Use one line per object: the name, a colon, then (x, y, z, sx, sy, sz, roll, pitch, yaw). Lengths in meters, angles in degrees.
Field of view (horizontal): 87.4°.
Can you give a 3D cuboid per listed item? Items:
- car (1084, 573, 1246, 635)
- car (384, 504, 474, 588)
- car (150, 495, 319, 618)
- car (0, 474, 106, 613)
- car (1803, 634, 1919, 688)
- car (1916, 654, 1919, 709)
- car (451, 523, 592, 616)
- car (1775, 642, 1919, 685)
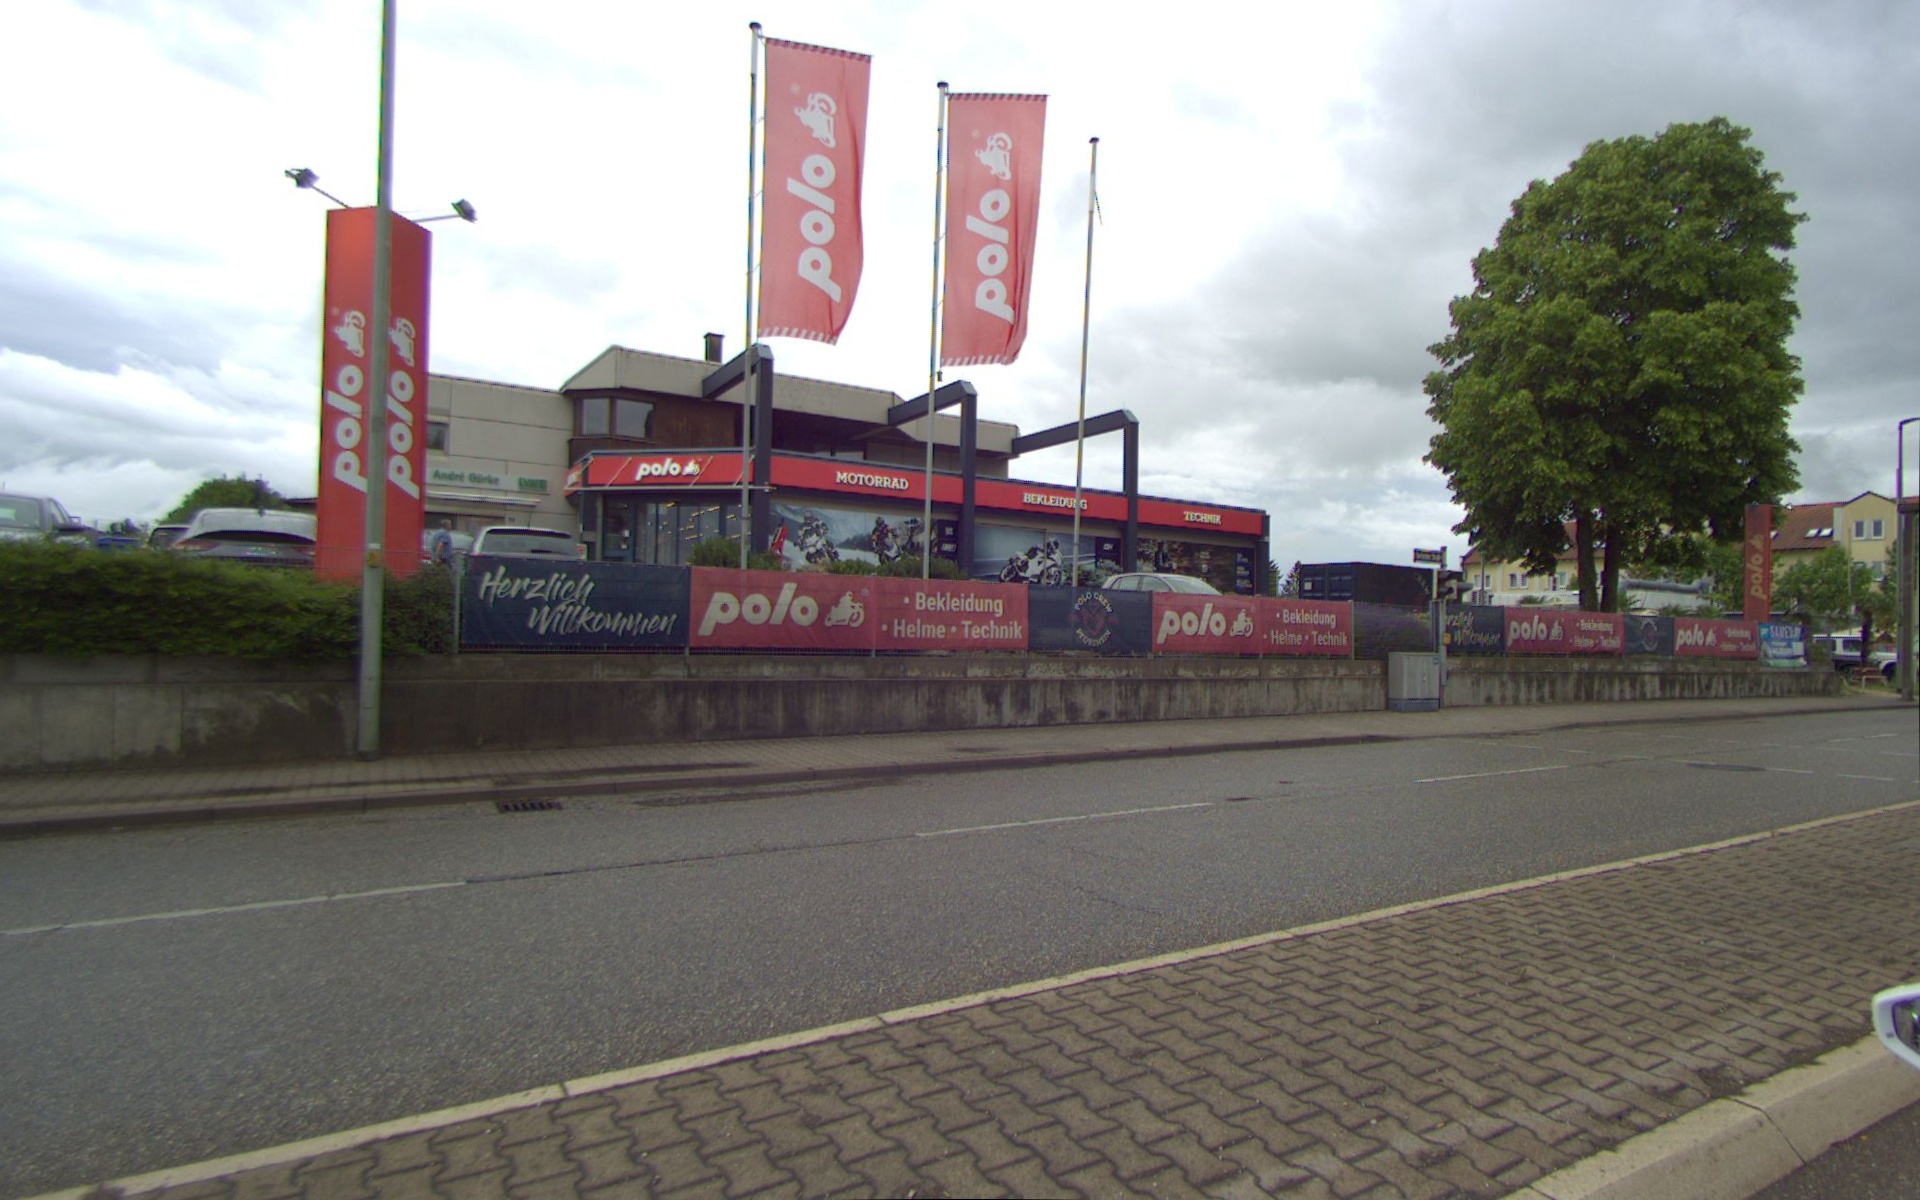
car: (4.219, 0.114, 21.117, 1.438, 1.183, 3.368, 1, -2, -32)
car: (-11.250, -1.059, 21.192, 1.438, 1.492, 3.368, 1, -1, -32)
car: (-8.896, -0.432, 12.529, 1.438, 1.295, 3.368, 1, -1, -32)
car: (-10.819, -0.557, 11.077, 1.436, 1.355, 3.372, 1, -1, -29)
car: (36.308, 2.385, 39.686, 4.324, 2.040, 1.996, -1, -3, 32)
car: (26.526, 2.096, 25.725, 4.077, 1.397, 1.908, 2, -3, -30)
car: (-6.527, -0.363, 14.776, 1.438, 1.183, 3.368, 1, -2, -32)
car: (38.106, 2.703, 42.846, 4.927, 1.724, 1.996, -1, -6, 33)
